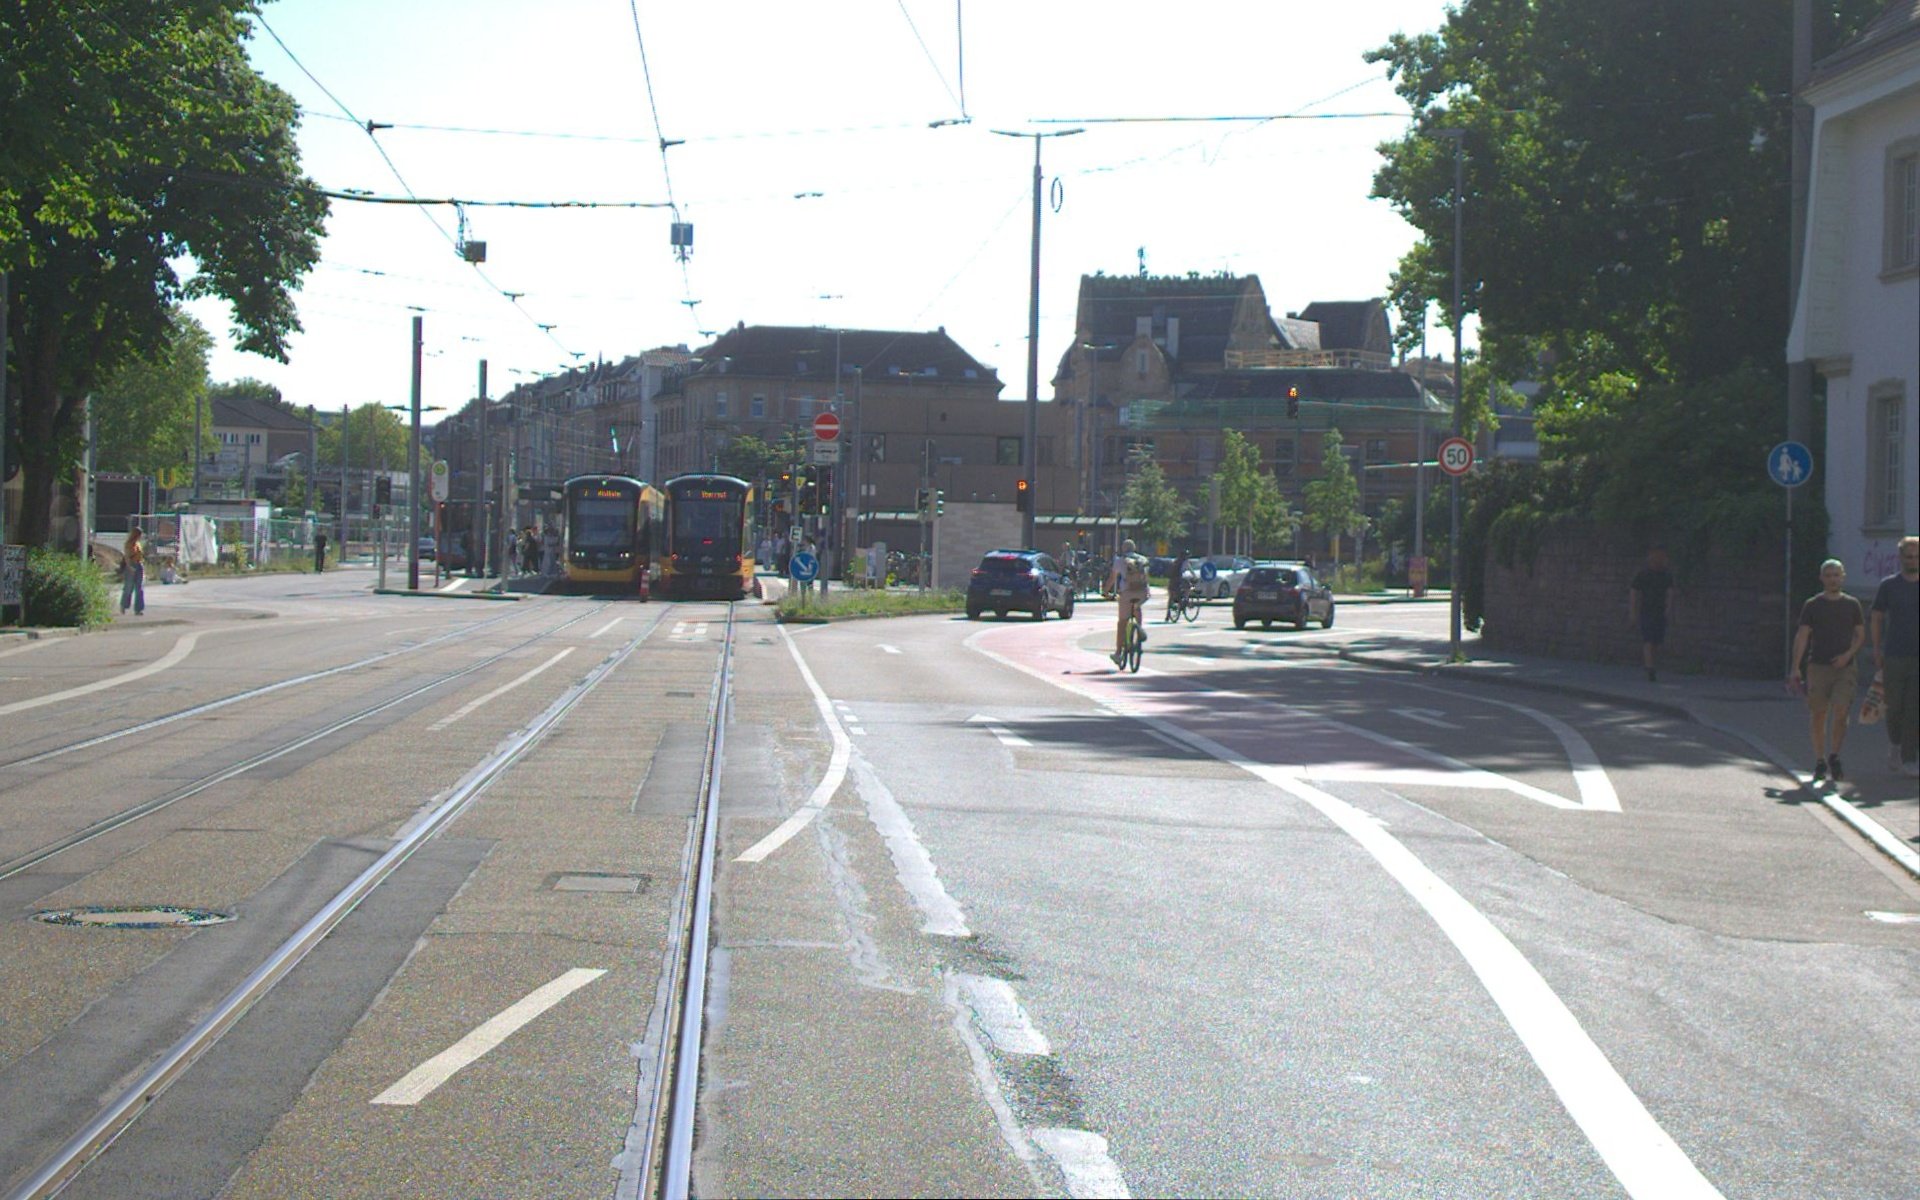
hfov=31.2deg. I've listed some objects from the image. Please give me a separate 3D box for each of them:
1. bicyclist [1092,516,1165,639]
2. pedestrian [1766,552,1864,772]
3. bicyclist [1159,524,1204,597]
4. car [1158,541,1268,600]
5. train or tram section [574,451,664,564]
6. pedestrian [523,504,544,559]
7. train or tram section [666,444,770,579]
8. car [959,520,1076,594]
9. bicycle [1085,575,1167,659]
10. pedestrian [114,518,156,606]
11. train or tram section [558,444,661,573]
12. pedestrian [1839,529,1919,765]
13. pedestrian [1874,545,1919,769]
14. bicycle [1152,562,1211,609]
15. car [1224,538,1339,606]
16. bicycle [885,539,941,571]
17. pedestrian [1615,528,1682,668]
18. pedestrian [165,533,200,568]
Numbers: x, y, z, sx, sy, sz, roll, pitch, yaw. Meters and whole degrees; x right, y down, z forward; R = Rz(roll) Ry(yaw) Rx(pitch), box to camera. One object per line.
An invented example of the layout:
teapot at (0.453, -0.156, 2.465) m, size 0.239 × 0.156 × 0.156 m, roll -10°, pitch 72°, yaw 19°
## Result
bicyclist at (2.357, -0.320, 48.084) m, size 0.705 × 1.669 × 1.100 m, roll 3°, pitch 2°, yaw 16°
pedestrian at (6.961, 0.493, 27.999) m, size 0.606 × 1.741 × 0.718 m, roll -2°, pitch 1°, yaw 4°
bicyclist at (5.318, -0.952, 82.564) m, size 0.705 × 1.694 × 0.986 m, roll 4°, pitch 2°, yaw 21°
car at (7.550, -0.866, 102.331) m, size 1.704 × 1.638 × 3.706 m, roll 3°, pitch 2°, yaw 32°
train or tram section at (-11.704, -3.218, 118.961) m, size 2.741 × 3.639 × 12.547 m, roll 1°, pitch 2°, yaw -4°
pedestrian at (-14.511, -2.331, 116.966) m, size 0.626 × 1.821 × 0.662 m, roll 1°, pitch 1°, yaw -5°
train or tram section at (-7.129, -2.615, 100.635) m, size 2.741 × 3.639 × 13.788 m, roll 1°, pitch 2°, yaw -4°
car at (1.353, -0.994, 79.608) m, size 1.790 × 1.599 × 3.710 m, roll 3°, pitch 2°, yaw 15°
bicycle at (2.330, 0.228, 48.098) m, size 0.705 × 1.101 × 1.716 m, roll 3°, pitch 2°, yaw 16°
pedestrian at (-15.990, -0.748, 66.630) m, size 0.635 × 1.691 × 0.819 m, roll -1°, pitch 1°, yaw -25°
train or tram section at (-10.684, -2.841, 105.837) m, size 2.741 × 3.639 × 13.788 m, roll 1°, pitch 2°, yaw -4°
pedestrian at (7.561, 0.376, 28.203) m, size 0.518 × 1.896 × 0.611 m, roll -2°, pitch 1°, yaw 4°
pedestrian at (7.796, 0.447, 27.676) m, size 0.529 × 1.768 × 0.734 m, roll -2°, pitch 1°, yaw 37°
bicycle at (5.346, -0.361, 82.754) m, size 0.705 × 1.051 × 2.311 m, roll 4°, pitch 2°, yaw 21°
car at (7.604, -0.667, 81.101) m, size 1.791 × 1.506 × 3.709 m, roll 3°, pitch 2°, yaw 19°
bicycle at (-1.678, -1.615, 122.583) m, size 1.933 × 1.099 × 0.599 m, roll 1°, pitch 2°, yaw -6°
pedestrian at (9.500, -0.038, 47.446) m, size 0.637 × 1.897 × 1.135 m, roll -1°, pitch 1°, yaw -2°
pedestrian at (-23.267, -1.487, 102.930) m, size 0.897 × 1.043 × 0.655 m, roll 1°, pitch 1°, yaw -3°
